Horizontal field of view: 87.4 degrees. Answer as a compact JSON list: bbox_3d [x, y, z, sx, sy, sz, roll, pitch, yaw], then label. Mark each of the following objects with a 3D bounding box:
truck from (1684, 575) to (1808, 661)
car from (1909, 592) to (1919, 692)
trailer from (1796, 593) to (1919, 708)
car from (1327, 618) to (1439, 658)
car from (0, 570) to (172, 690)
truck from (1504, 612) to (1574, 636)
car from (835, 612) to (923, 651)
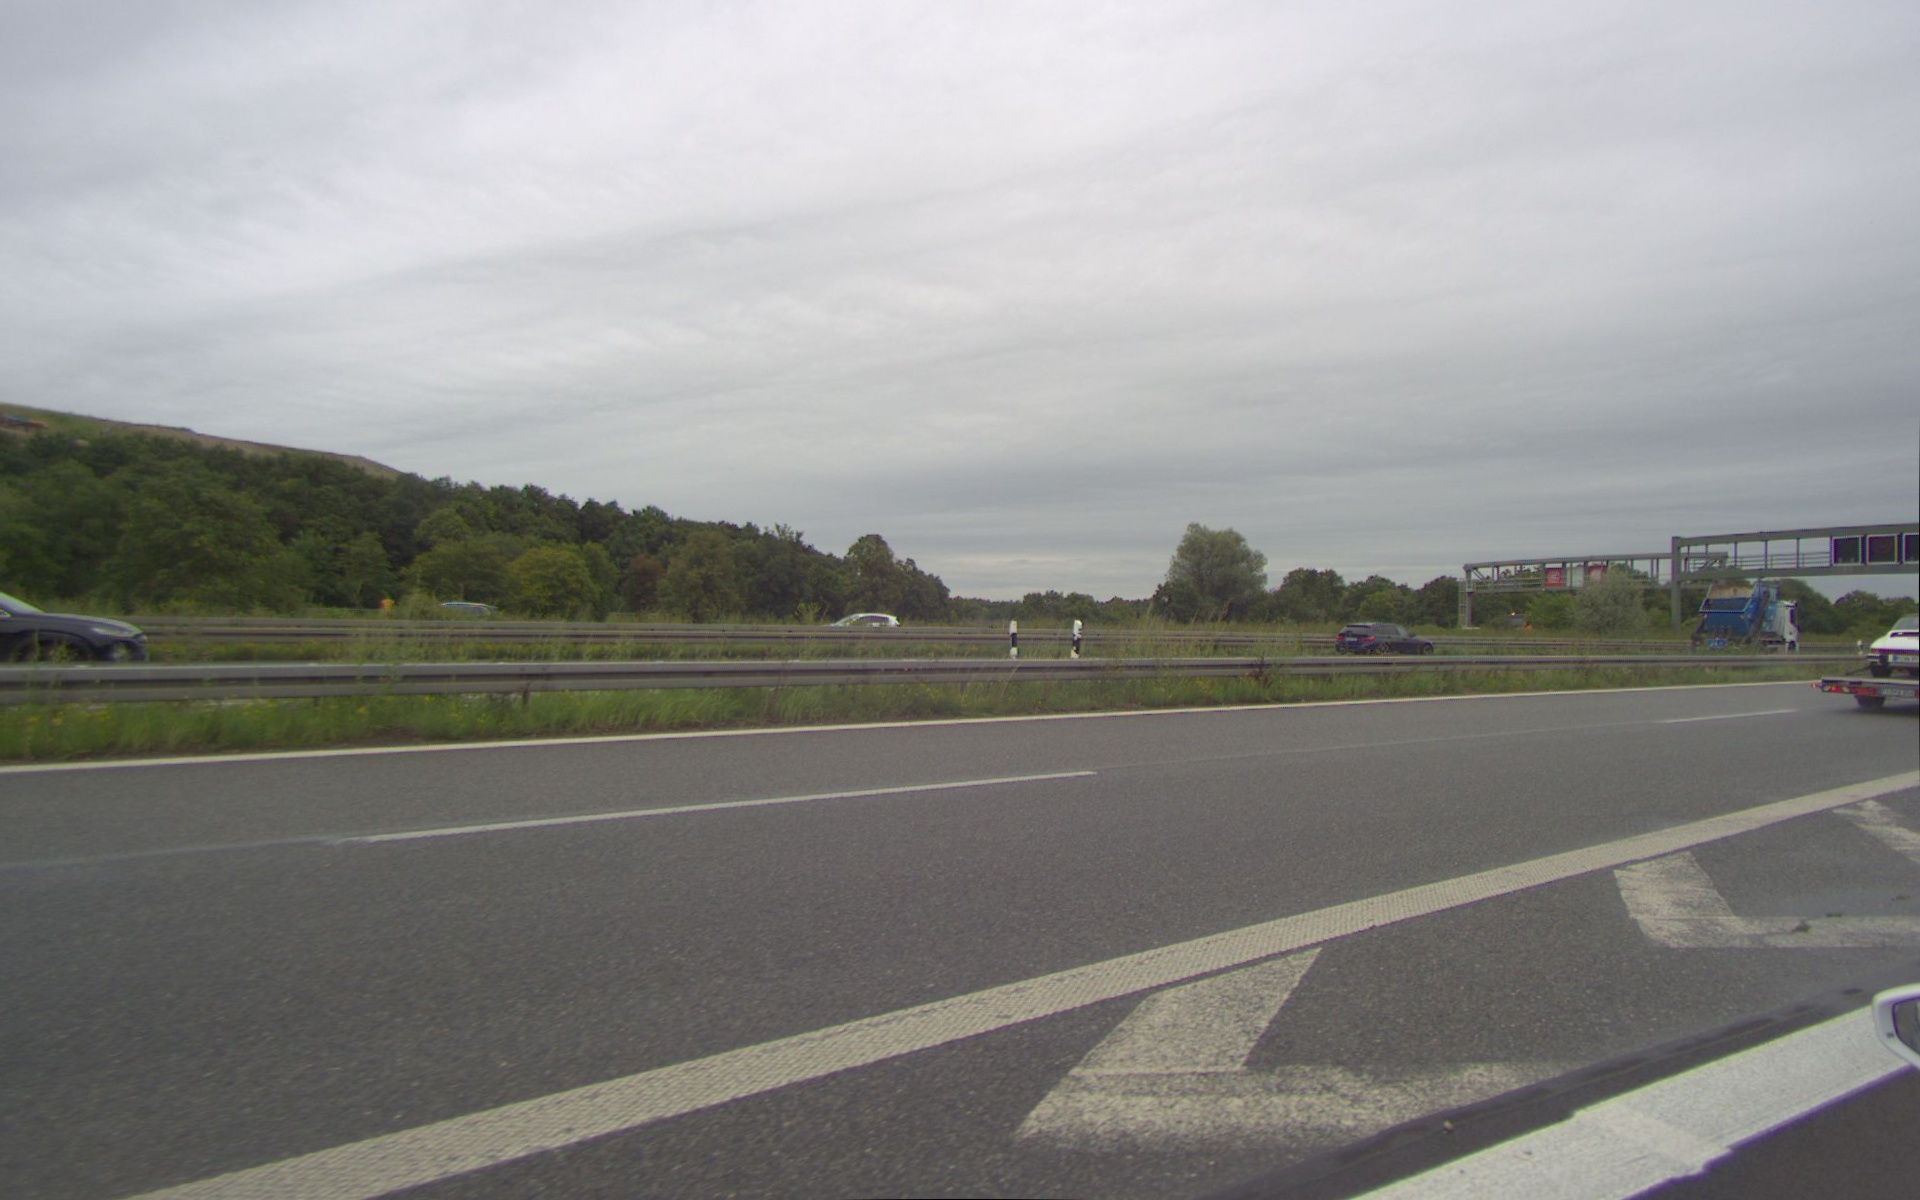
[{"bbox_3d":[38.277,0.913,48.844,7.270,3.863,2.621,3,0,-35],"label":"truck"},{"bbox_3d":[25.149,1.069,23.904,6.191,2.296,2.358,2,0,-34],"label":"car"},{"bbox_3d":[19.705,1.001,20.239,6.989,2.021,2.470,2,0,-34],"label":"trailer"},{"bbox_3d":[16.745,1.523,39.675,4.727,1.410,1.792,3,0,-35],"label":"car"},{"bbox_3d":[-14.287,0.372,14.196,4.757,1.648,1.870,3,0,-34],"label":"car"},{"bbox_3d":[56.618,2.365,98.162,8.715,2.040,1.983,3,0,-31],"label":"truck"},{"bbox_3d":[-4.023,1.574,49.968,3.954,1.751,1.842,3,0,-31],"label":"car"}]
